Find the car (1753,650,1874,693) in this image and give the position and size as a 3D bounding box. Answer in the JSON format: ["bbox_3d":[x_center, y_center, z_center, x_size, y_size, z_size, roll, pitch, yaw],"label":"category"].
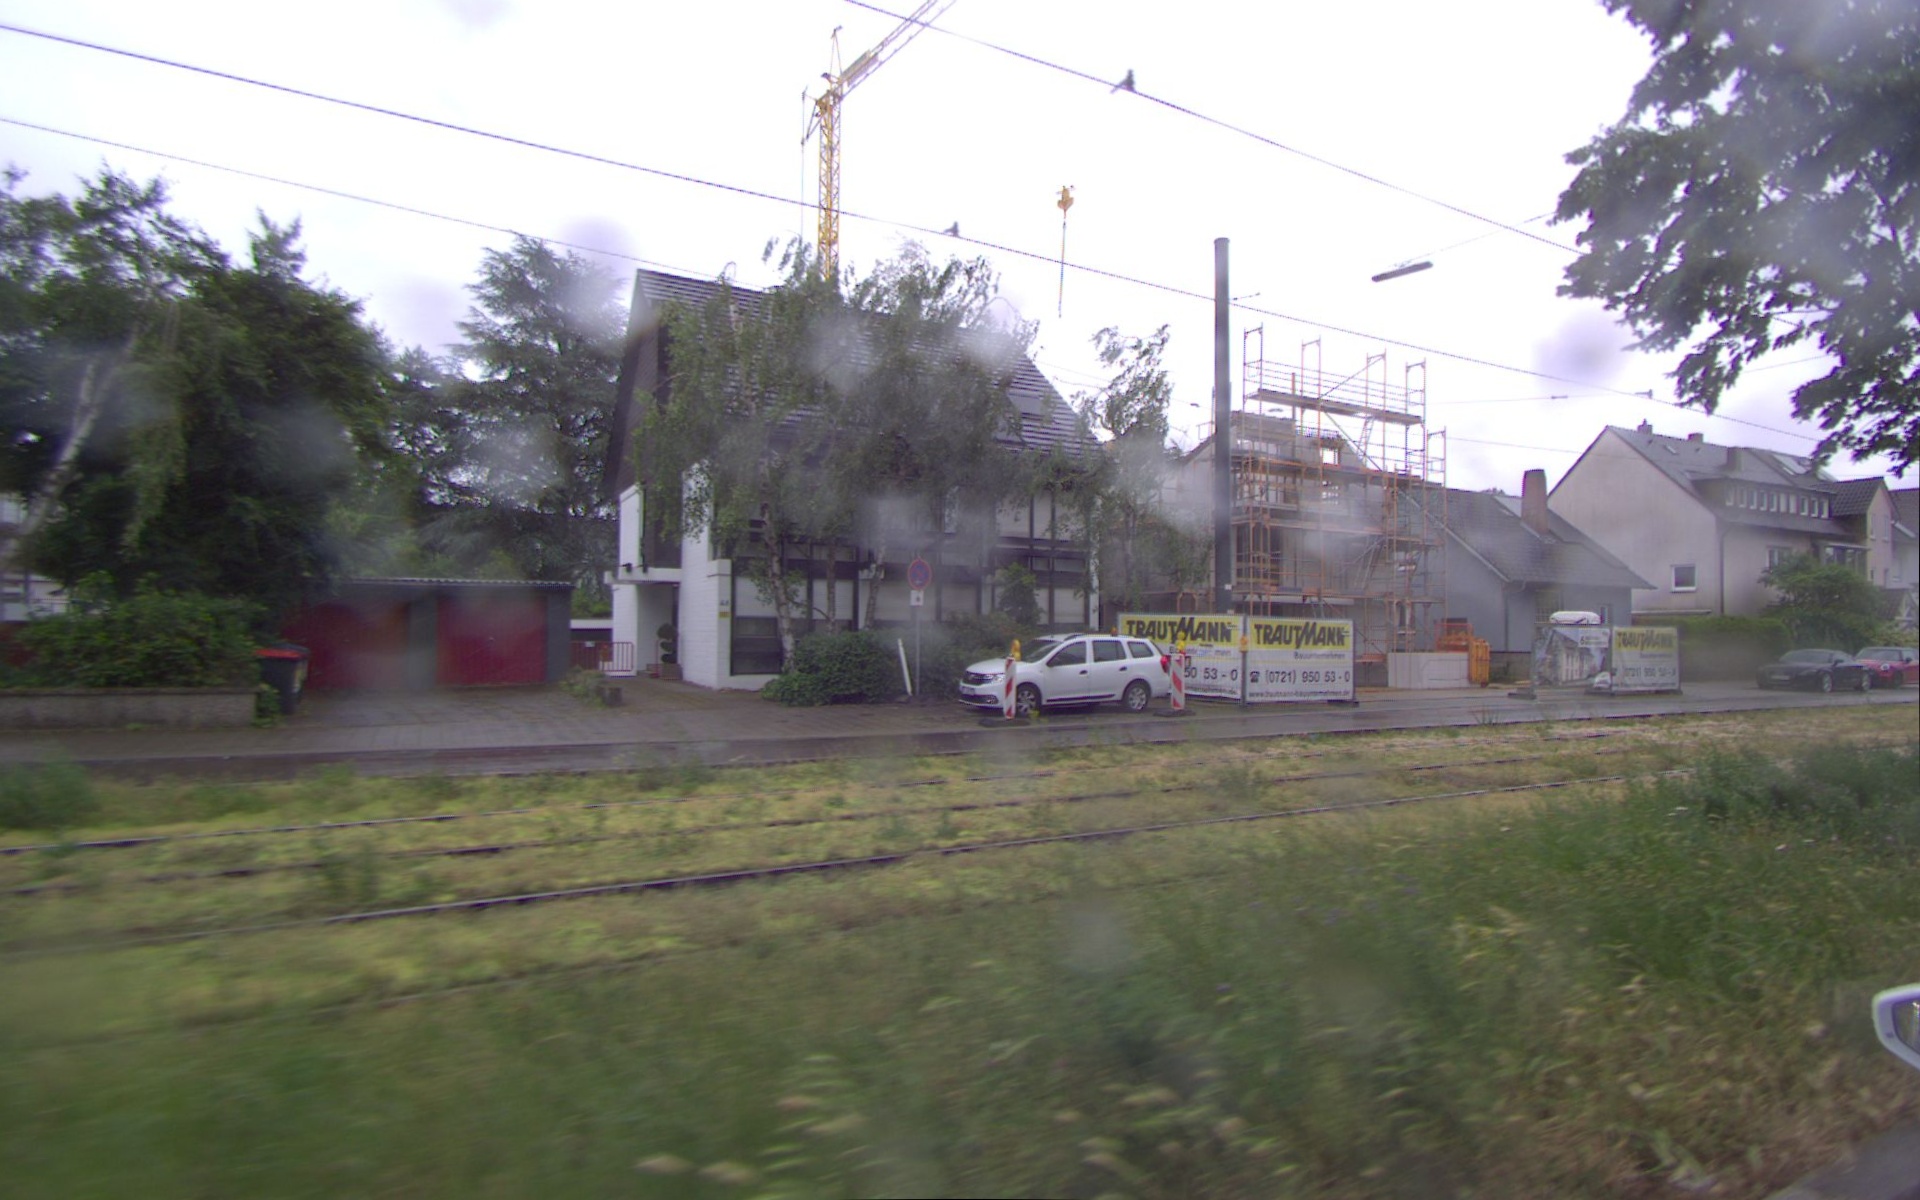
[{"bbox_3d":[27.976,2.297,32.902,4.020,1.261,1.656,1,0,-28],"label":"car"}]

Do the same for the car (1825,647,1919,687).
[{"bbox_3d":[32.447,2.335,35.403,3.806,1.261,1.668,1,0,-28],"label":"car"}]

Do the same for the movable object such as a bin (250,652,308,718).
[{"bbox_3d":[-11.678,1.444,17.248,0.748,1.105,0.641,1,-2,-29],"label":"movable object such as a bin"}]

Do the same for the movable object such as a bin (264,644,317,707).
[{"bbox_3d":[-12.611,1.406,18.940,0.748,1.153,0.558,1,-3,-28],"label":"movable object such as a bin"}]

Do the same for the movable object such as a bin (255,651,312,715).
[{"bbox_3d":[-11.979,1.455,17.801,0.748,1.096,0.558,1,-3,-28],"label":"movable object such as a bin"}]

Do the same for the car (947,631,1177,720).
[{"bbox_3d":[2.070,1.440,20.099,4.366,1.563,1.703,1,0,-28],"label":"car"}]

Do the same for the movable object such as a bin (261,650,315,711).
[{"bbox_3d":[-12.275,1.460,18.370,0.748,1.096,0.558,1,-3,-28],"label":"movable object such as a bin"}]
